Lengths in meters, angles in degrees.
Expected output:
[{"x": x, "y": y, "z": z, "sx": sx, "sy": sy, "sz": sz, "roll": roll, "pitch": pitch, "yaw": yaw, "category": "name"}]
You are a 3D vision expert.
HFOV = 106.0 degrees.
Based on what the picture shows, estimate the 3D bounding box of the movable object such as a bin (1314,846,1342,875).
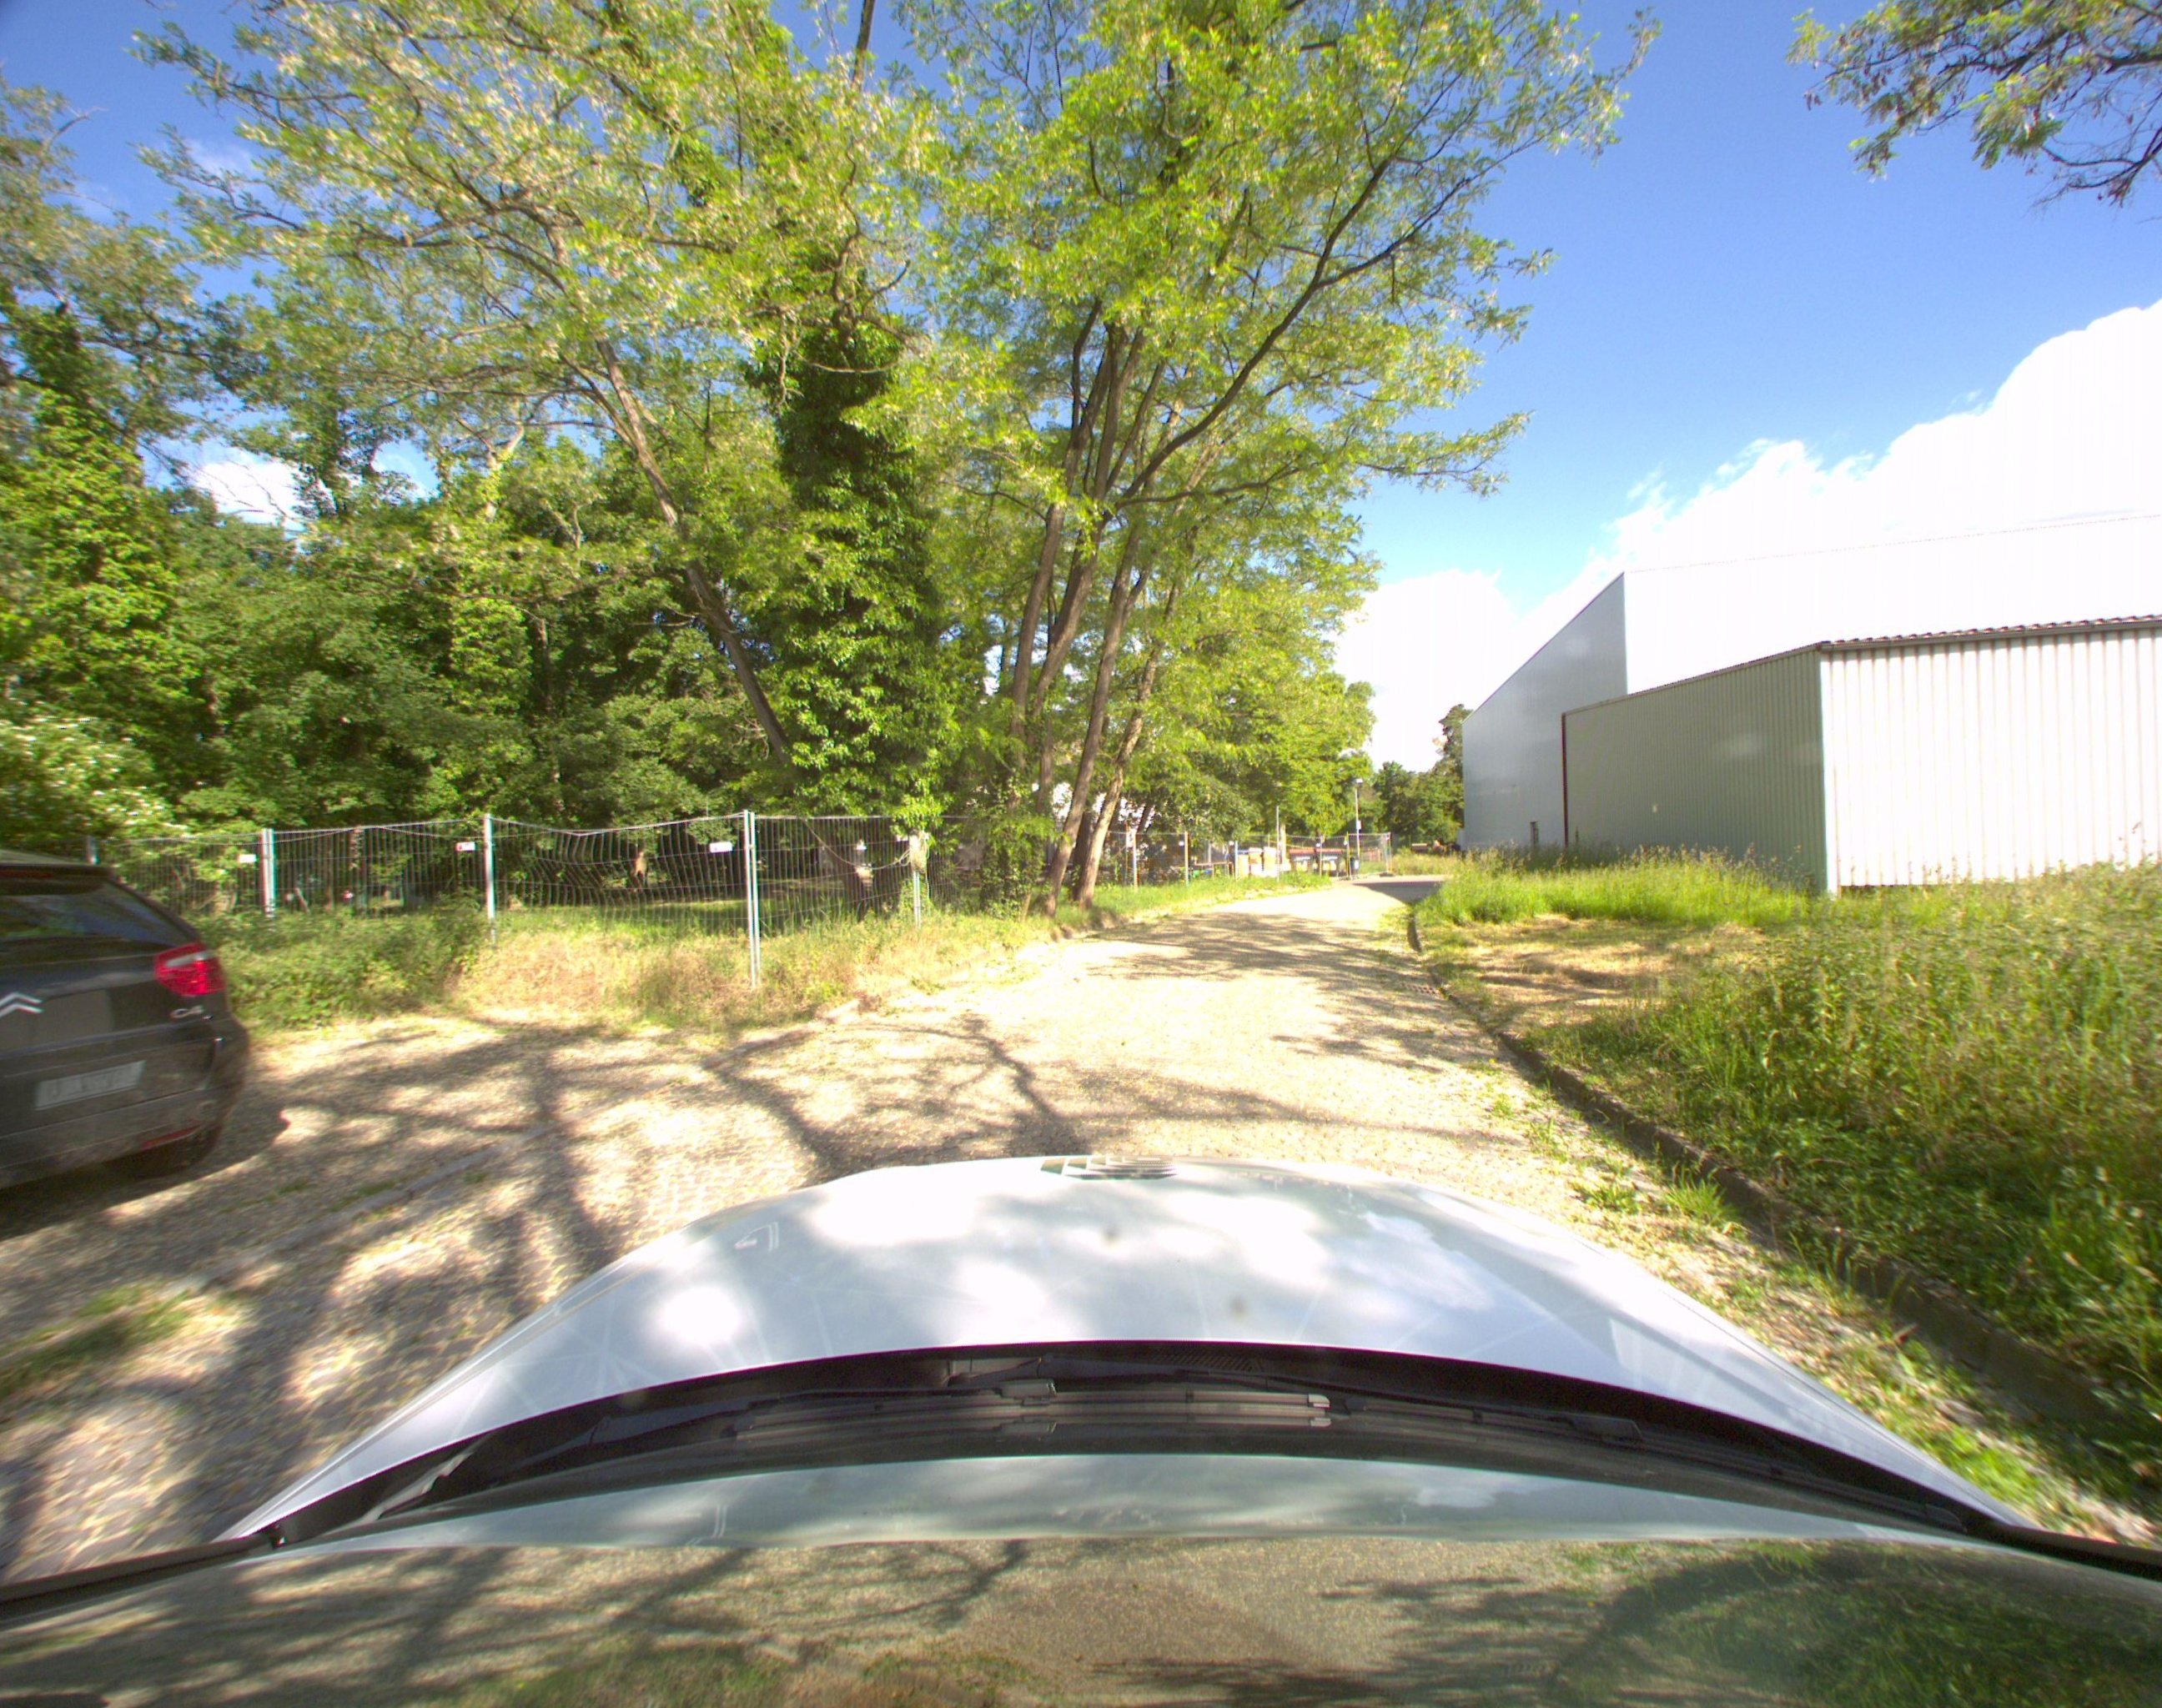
[{"x": 12.579, "y": 0.334, "z": 41.533, "sx": 1.278, "sy": 1.426, "sz": 1.036, "roll": -2, "pitch": 0, "yaw": 12, "category": "movable object such as a bin"}]

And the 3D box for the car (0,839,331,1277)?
[{"x": -6.096, "y": 0.733, "z": 3.676, "sx": 4.231, "sy": 1.589, "sz": 1.836, "roll": 2, "pitch": 1, "yaw": 12, "category": "car"}]

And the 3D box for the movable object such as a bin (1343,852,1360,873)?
[{"x": 13.646, "y": 0.434, "z": 41.064, "sx": 0.635, "sy": 1.007, "sz": 0.609, "roll": -2, "pitch": -1, "yaw": 32, "category": "movable object such as a bin"}]

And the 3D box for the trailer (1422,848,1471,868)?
[{"x": 23.527, "y": 0.249, "z": 52.426, "sx": 2.690, "sy": 1.200, "sz": 1.251, "roll": -2, "pitch": 0, "yaw": 15, "category": "trailer"}]

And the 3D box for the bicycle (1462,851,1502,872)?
[{"x": 21.884, "y": 0.400, "z": 44.420, "sx": 1.869, "sy": 1.082, "sz": 0.435, "roll": -2, "pitch": -1, "yaw": 15, "category": "bicycle"}]

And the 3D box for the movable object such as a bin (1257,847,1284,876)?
[{"x": 9.852, "y": 0.374, "z": 42.242, "sx": 1.278, "sy": 1.426, "sz": 1.036, "roll": -2, "pitch": 0, "yaw": 14, "category": "movable object such as a bin"}]

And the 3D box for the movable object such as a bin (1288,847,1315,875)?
[{"x": 11.296, "y": 0.356, "z": 41.829, "sx": 1.278, "sy": 1.426, "sz": 1.036, "roll": -2, "pitch": 0, "yaw": 14, "category": "movable object such as a bin"}]

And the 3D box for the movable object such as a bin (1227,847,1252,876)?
[{"x": 8.293, "y": 0.382, "z": 42.551, "sx": 1.075, "sy": 1.438, "sz": 1.061, "roll": -2, "pitch": 0, "yaw": 18, "category": "movable object such as a bin"}]
